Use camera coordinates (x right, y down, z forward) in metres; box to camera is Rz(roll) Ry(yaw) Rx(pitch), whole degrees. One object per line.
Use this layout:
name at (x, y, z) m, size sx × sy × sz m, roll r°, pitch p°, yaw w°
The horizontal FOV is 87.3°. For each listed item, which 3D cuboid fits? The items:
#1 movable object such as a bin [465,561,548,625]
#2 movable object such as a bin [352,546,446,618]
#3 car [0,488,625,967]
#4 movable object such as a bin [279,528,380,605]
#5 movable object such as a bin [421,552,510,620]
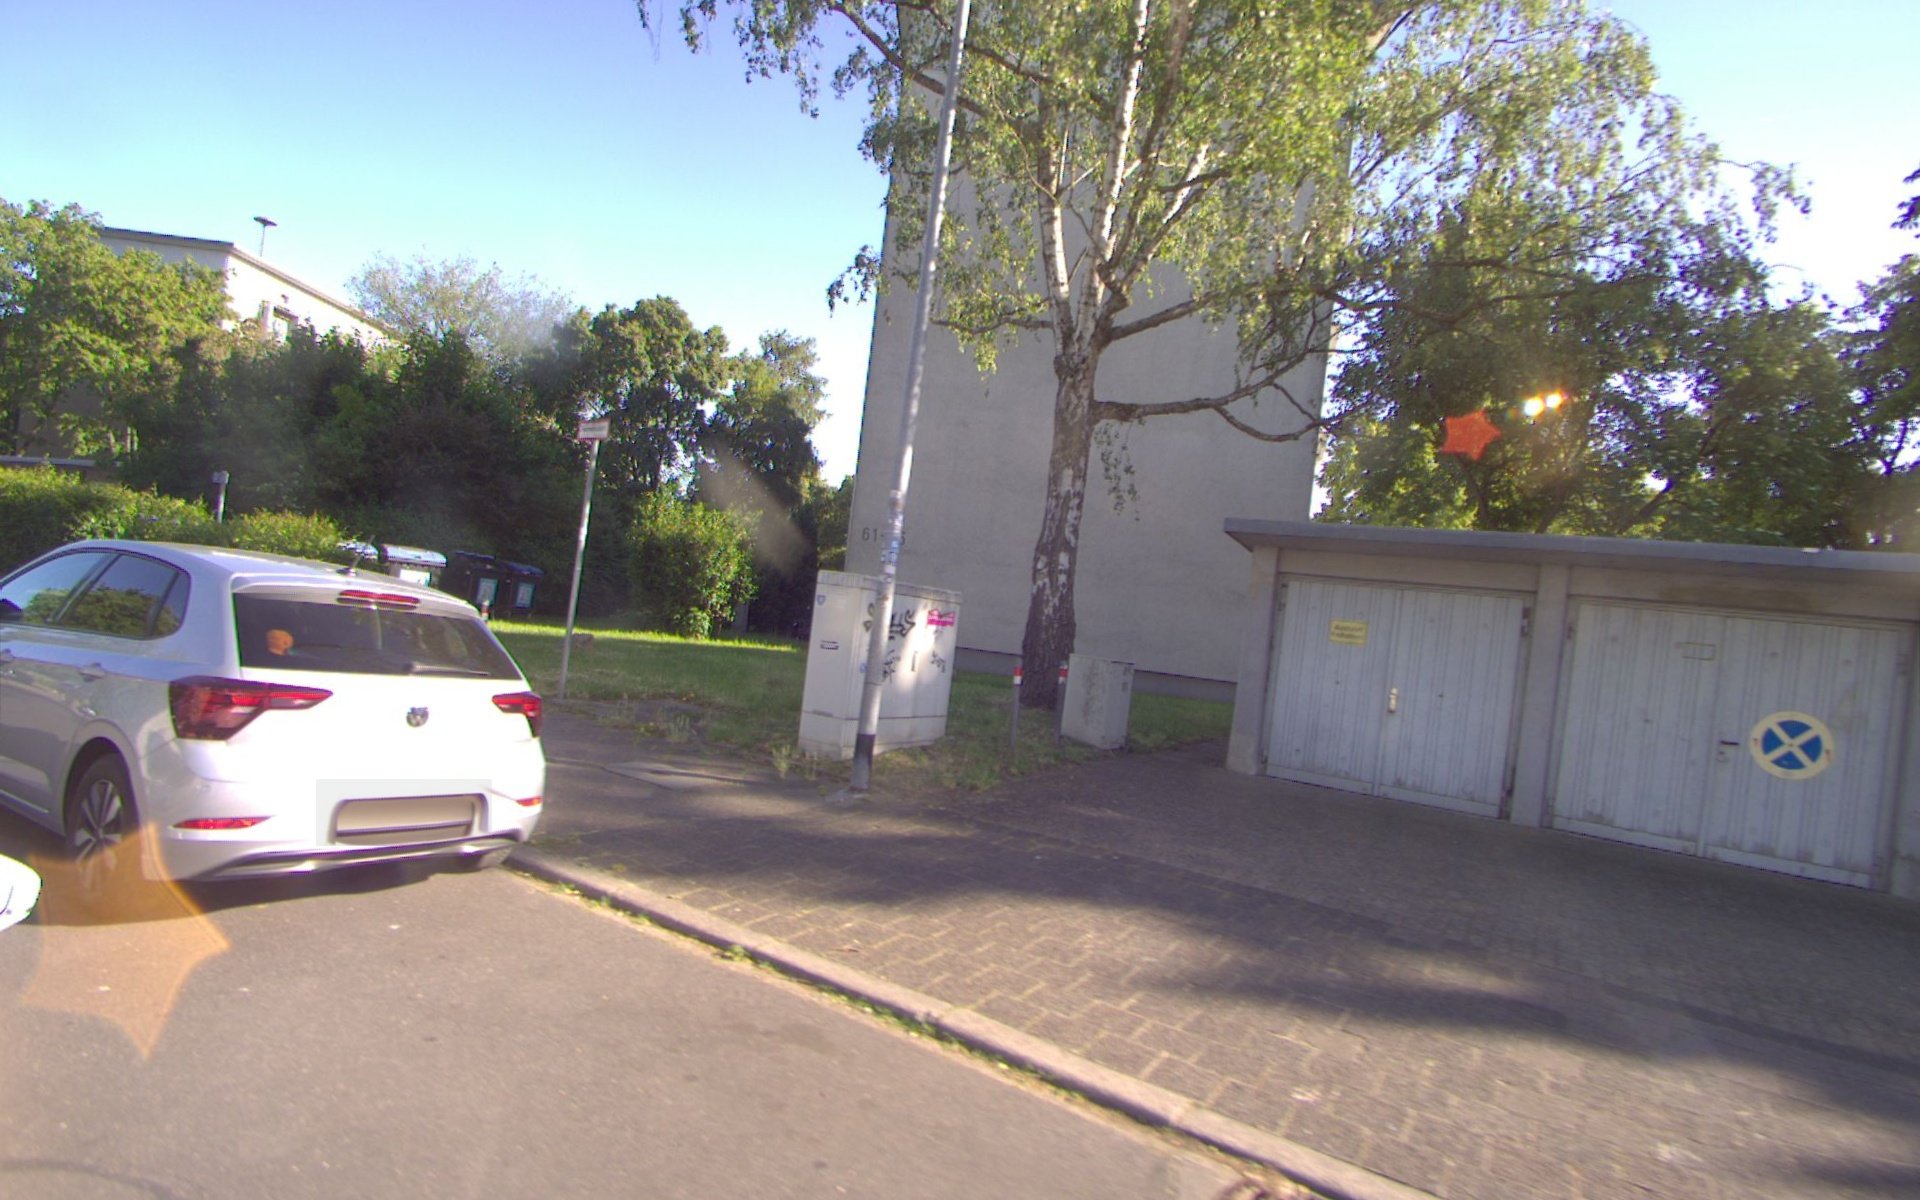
movable object such as a bin at (-11.436, -0.164, 25.383) m, size 1.255 × 1.369 × 1.259 m, roll 7°, pitch -1°, yaw 22°
movable object such as a bin at (-12.431, -0.393, 22.313) m, size 1.258 × 1.369 × 1.257 m, roll 7°, pitch -1°, yaw 31°
car at (-3.895, 0.365, 5.144) m, size 4.034 × 1.530 × 1.758 m, roll 7°, pitch -3°, yaw 30°
movable object such as a bin at (-13.304, -0.698, 21.234) m, size 1.258 × 1.369 × 1.257 m, roll 7°, pitch -1°, yaw 31°
movable object such as a bin at (-11.736, -0.324, 23.893) m, size 1.256 × 1.369 × 1.259 m, roll 7°, pitch -1°, yaw 24°
